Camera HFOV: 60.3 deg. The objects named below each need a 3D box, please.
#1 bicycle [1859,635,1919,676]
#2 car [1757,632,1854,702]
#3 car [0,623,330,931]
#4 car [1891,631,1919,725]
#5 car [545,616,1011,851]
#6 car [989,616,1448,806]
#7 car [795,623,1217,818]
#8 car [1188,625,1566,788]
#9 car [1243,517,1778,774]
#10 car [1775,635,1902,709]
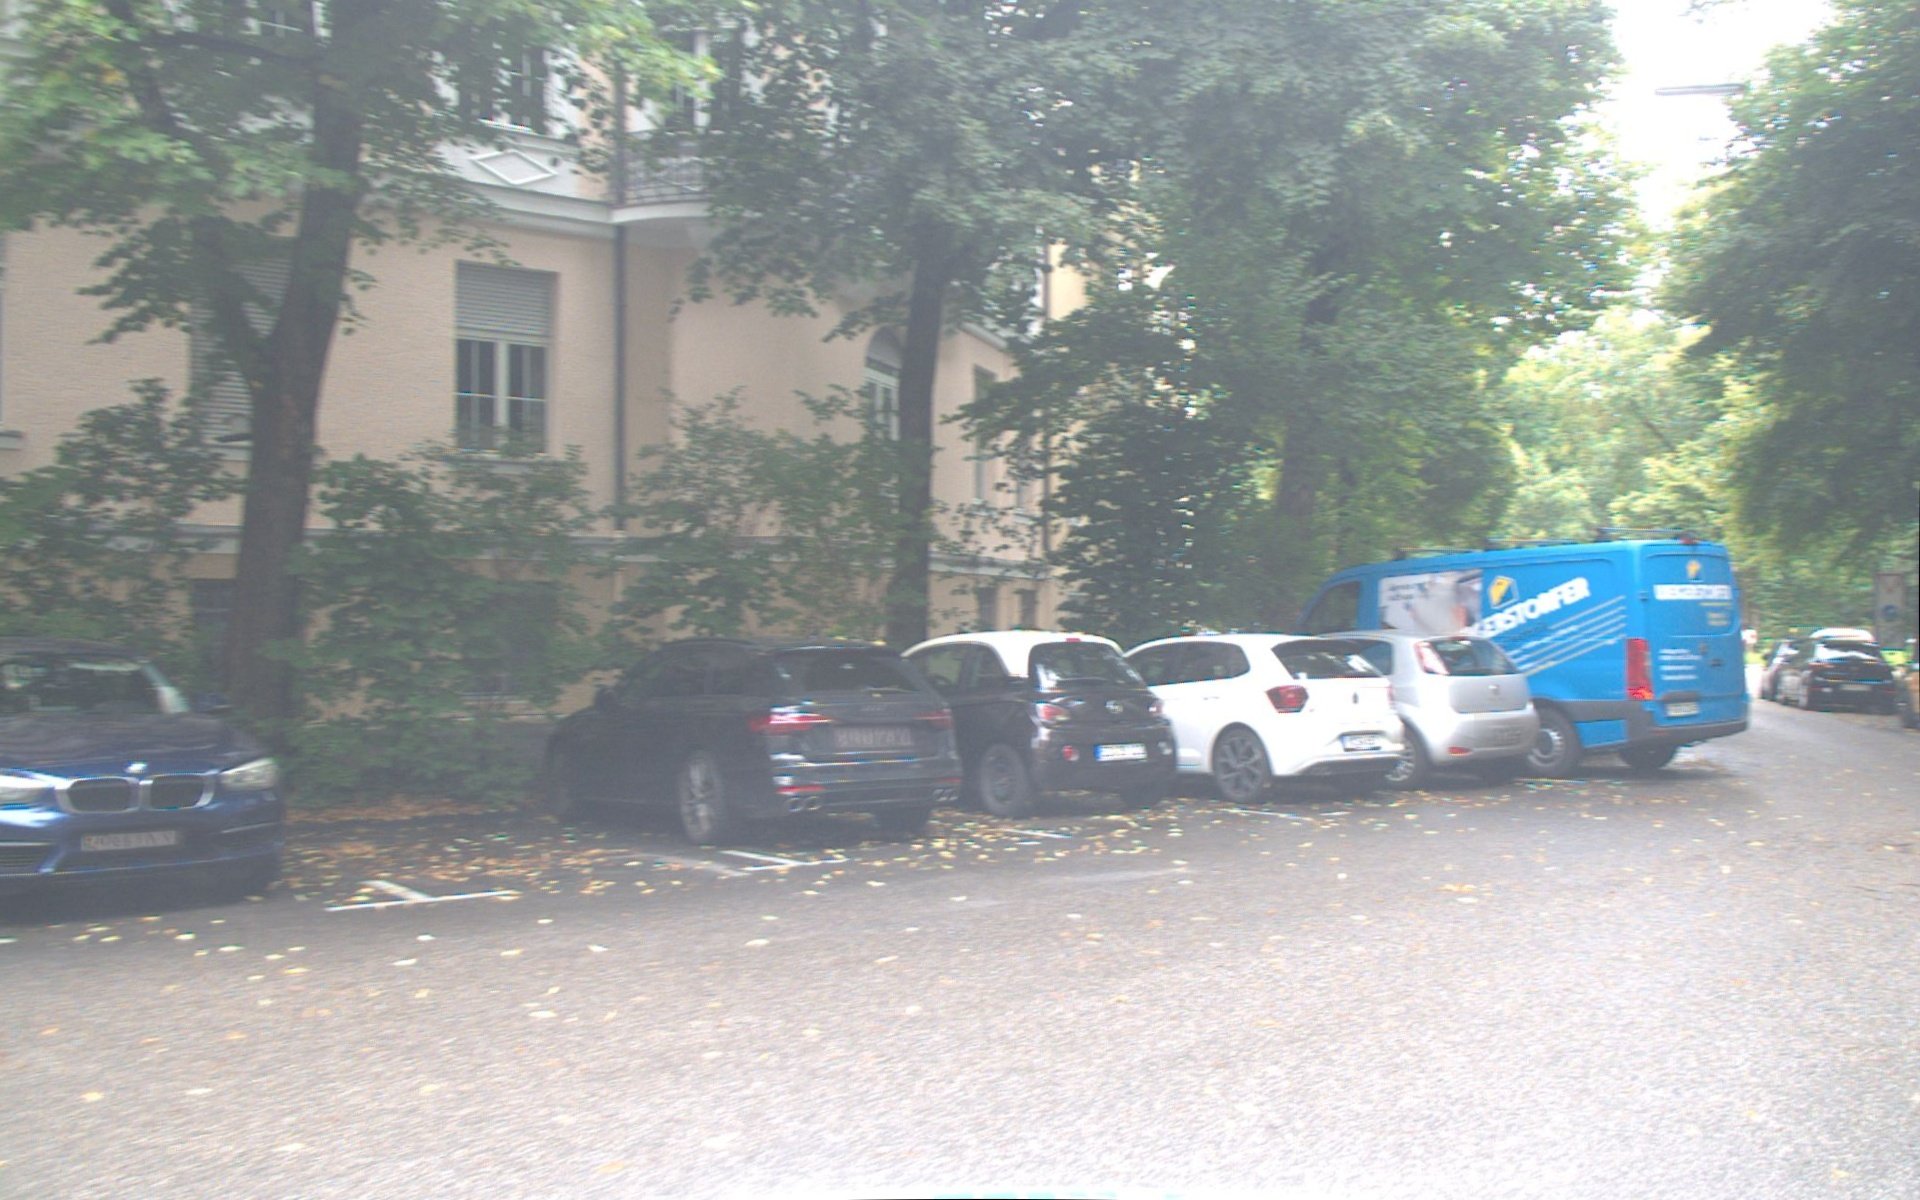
[{"bbox_3d":[23.205,1.370,40.880,1.718,0.999,0.272,-1,-1,28],"label":"bicycle"},{"bbox_3d":[19.721,1.527,38.691,1.614,1.500,3.643,0,-1,21],"label":"car"},{"bbox_3d":[-5.373,0.867,9.647,1.829,1.407,4.277,0,-2,-41],"label":"car"},{"bbox_3d":[15.613,1.226,25.188,1.584,1.437,3.783,0,0,15],"label":"car"},{"bbox_3d":[-1.553,0.932,12.524,1.841,1.450,4.114,0,-3,-34],"label":"car"},{"bbox_3d":[2.280,1.051,15.652,1.784,1.540,4.229,0,-4,-37],"label":"car"},{"bbox_3d":[0.272,1.042,14.462,1.813,1.450,3.702,0,-4,-36],"label":"car"},{"bbox_3d":[4.100,1.017,16.713,1.625,1.458,3.509,1,-2,-35],"label":"car"},{"bbox_3d":[5.800,0.560,18.246,2.042,2.396,5.426,1,-3,-35],"label":"car"},{"bbox_3d":[18.329,1.461,34.668,1.646,1.382,4.010,1,0,18],"label":"car"}]
